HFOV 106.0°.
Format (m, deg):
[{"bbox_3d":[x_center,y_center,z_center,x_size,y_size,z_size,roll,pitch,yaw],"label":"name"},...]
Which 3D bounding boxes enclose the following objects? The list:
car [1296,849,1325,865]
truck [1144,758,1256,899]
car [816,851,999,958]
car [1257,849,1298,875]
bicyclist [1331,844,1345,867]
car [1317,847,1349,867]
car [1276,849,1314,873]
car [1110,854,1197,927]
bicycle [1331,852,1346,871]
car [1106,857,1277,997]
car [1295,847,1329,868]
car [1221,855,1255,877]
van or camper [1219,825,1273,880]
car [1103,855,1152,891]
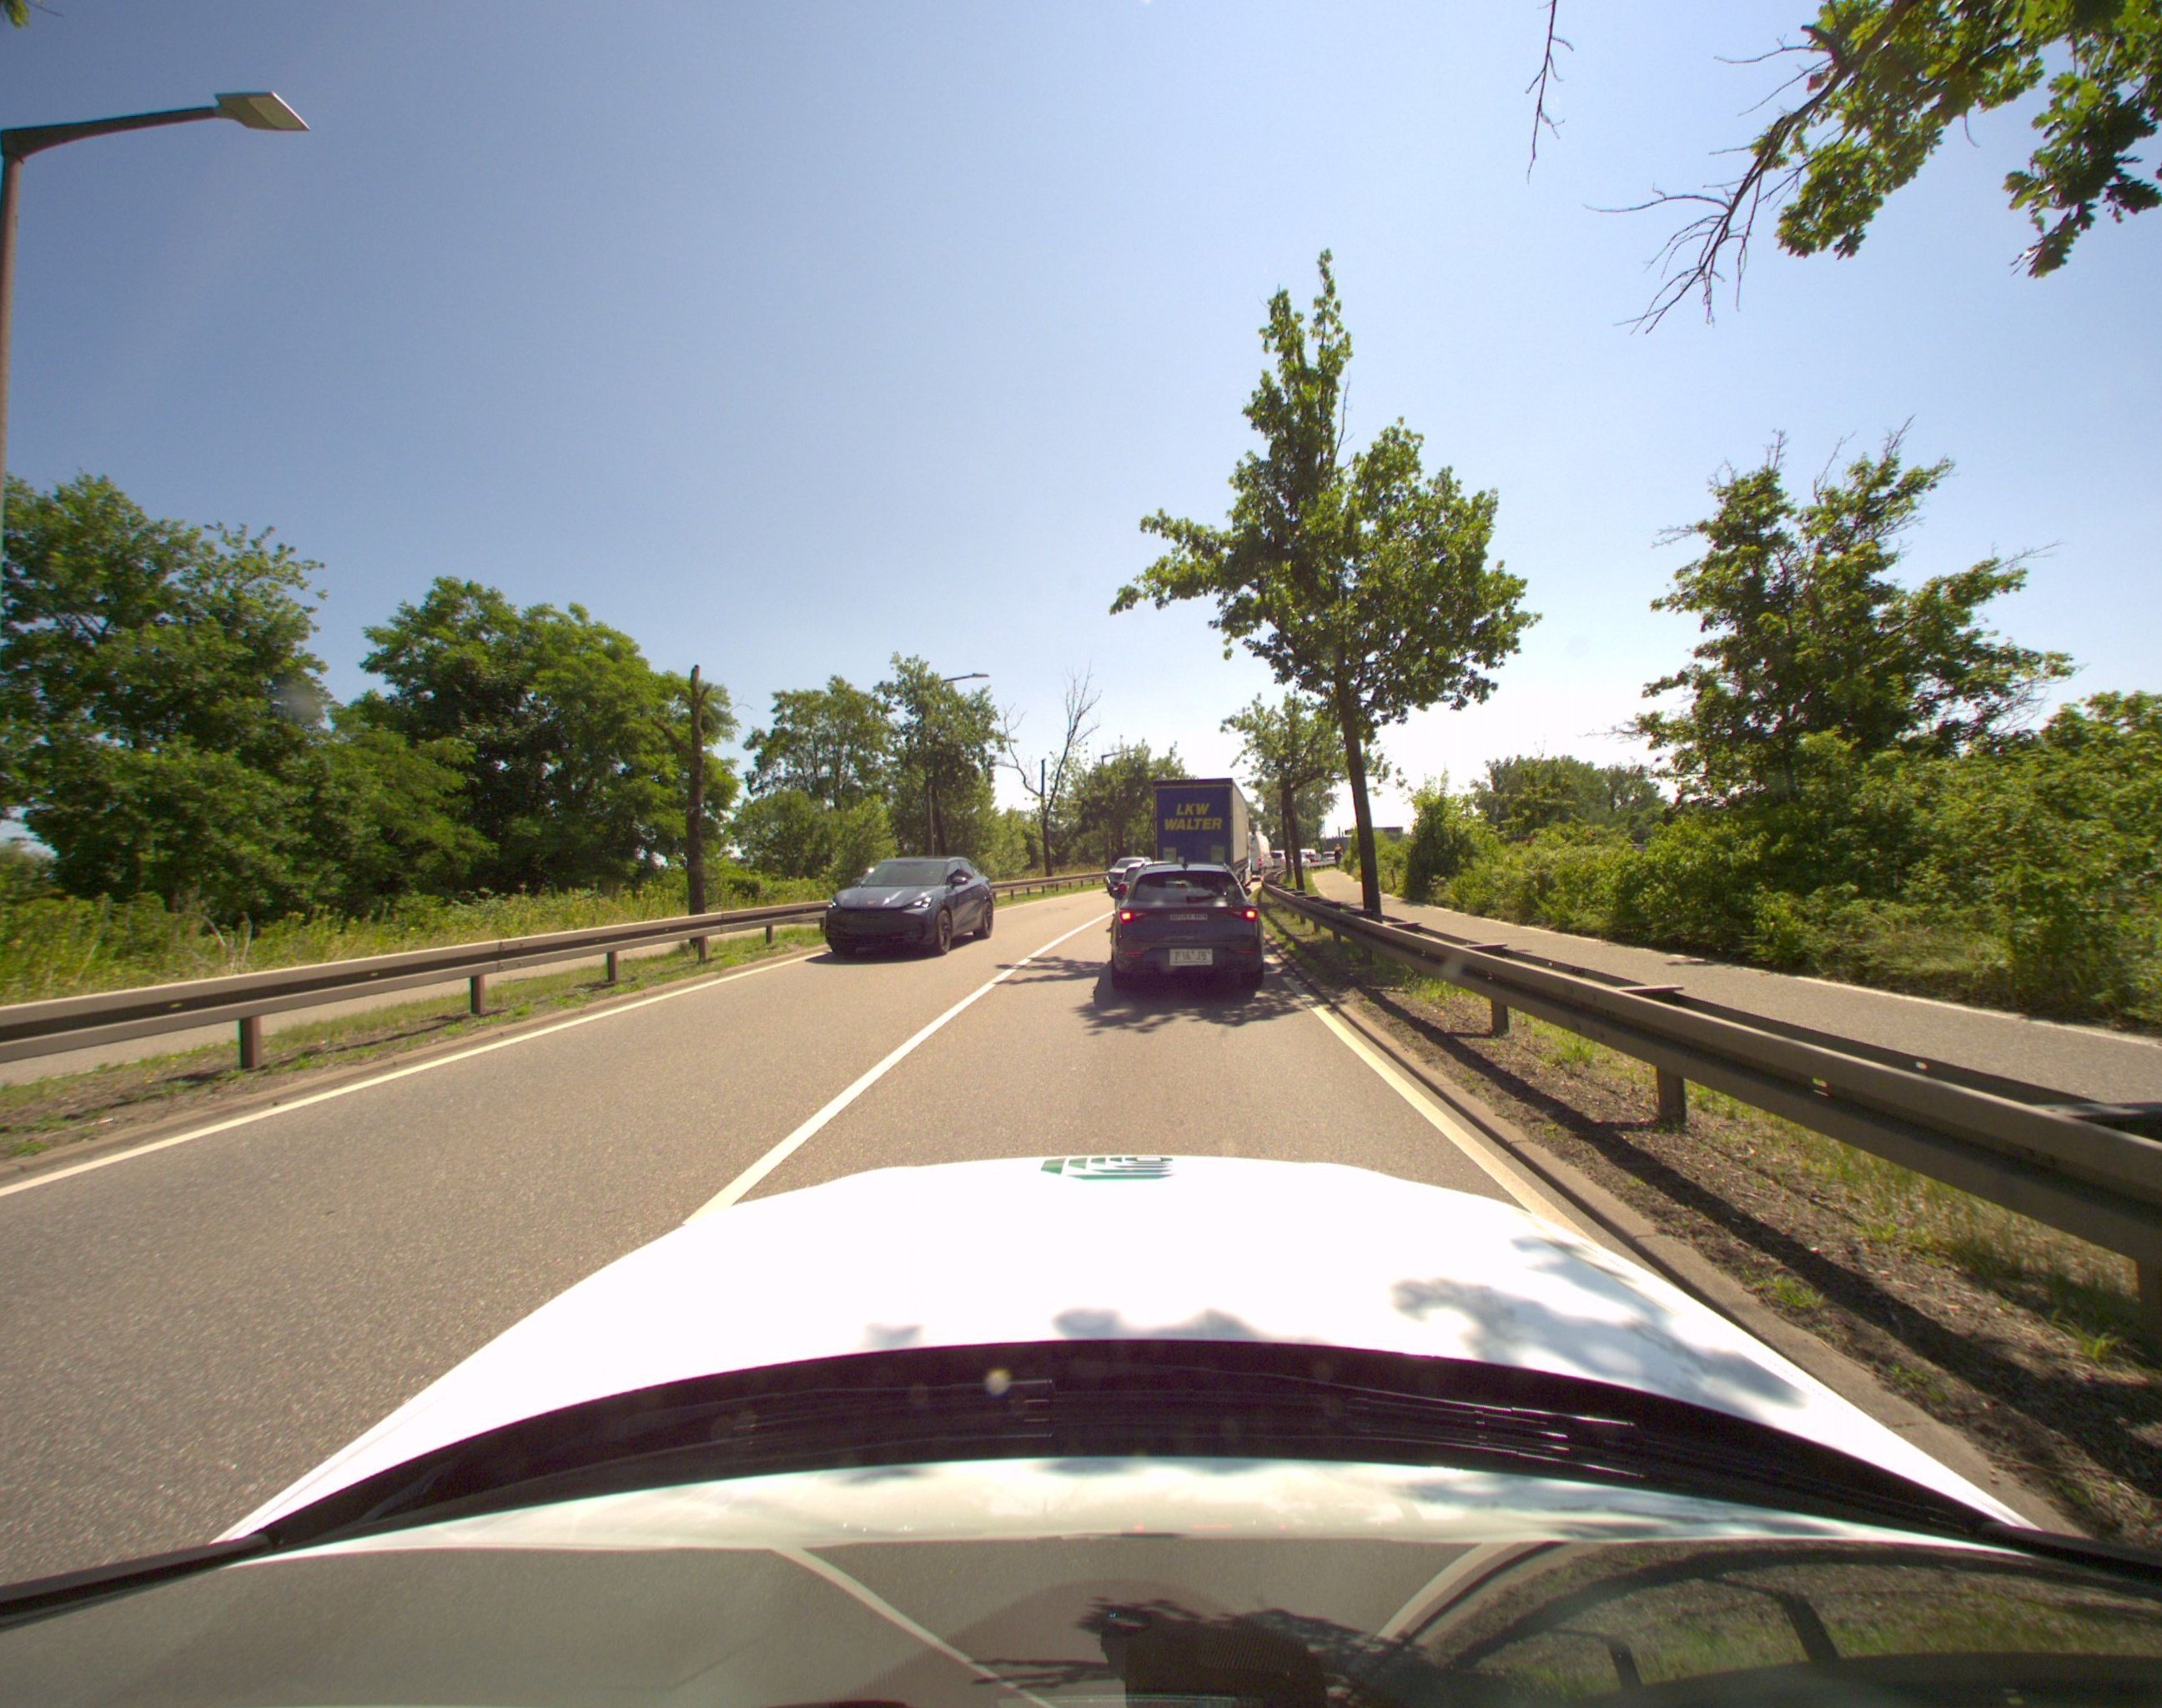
[{"bbox_3d":[22.911,0.269,81.192,1.732,1.556,4.152,-1,-1,31],"label":"car"},{"bbox_3d":[5.533,-0.757,34.232,2.929,4.449,16.860,-1,0,14],"label":"truck"},{"bbox_3d":[-2.857,0.795,14.512,1.859,1.603,4.400,-1,-1,6],"label":"car"},{"bbox_3d":[13.609,0.555,56.253,1.976,1.712,4.645,-1,-1,23],"label":"car"},{"bbox_3d":[17.464,0.127,55.276,0.853,1.523,0.985,-1,-1,20],"label":"bicyclist"},{"bbox_3d":[23.297,0.281,75.216,1.975,1.768,4.783,-1,-1,27],"label":"car"},{"bbox_3d":[16.482,0.524,62.520,1.975,1.808,4.873,-1,-1,25],"label":"car"},{"bbox_3d":[1.756,0.782,19.106,1.800,1.508,4.008,-1,0,7],"label":"car"},{"bbox_3d":[17.482,0.494,55.251,0.853,1.237,2.321,-1,-1,21],"label":"bicycle"},{"bbox_3d":[1.265,0.771,10.363,1.736,1.432,3.884,-1,0,4],"label":"car"},{"bbox_3d":[19.609,0.285,69.056,1.975,1.717,4.896,-1,-1,25],"label":"car"},{"bbox_3d":[12.168,0.880,62.960,1.853,1.603,4.415,-1,0,20],"label":"car"},{"bbox_3d":[9.902,-0.070,48.447,2.447,2.998,6.113,-1,-1,17],"label":"van or camper"},{"bbox_3d":[2.214,0.853,37.673,1.739,1.556,4.138,-1,-1,10],"label":"car"}]
